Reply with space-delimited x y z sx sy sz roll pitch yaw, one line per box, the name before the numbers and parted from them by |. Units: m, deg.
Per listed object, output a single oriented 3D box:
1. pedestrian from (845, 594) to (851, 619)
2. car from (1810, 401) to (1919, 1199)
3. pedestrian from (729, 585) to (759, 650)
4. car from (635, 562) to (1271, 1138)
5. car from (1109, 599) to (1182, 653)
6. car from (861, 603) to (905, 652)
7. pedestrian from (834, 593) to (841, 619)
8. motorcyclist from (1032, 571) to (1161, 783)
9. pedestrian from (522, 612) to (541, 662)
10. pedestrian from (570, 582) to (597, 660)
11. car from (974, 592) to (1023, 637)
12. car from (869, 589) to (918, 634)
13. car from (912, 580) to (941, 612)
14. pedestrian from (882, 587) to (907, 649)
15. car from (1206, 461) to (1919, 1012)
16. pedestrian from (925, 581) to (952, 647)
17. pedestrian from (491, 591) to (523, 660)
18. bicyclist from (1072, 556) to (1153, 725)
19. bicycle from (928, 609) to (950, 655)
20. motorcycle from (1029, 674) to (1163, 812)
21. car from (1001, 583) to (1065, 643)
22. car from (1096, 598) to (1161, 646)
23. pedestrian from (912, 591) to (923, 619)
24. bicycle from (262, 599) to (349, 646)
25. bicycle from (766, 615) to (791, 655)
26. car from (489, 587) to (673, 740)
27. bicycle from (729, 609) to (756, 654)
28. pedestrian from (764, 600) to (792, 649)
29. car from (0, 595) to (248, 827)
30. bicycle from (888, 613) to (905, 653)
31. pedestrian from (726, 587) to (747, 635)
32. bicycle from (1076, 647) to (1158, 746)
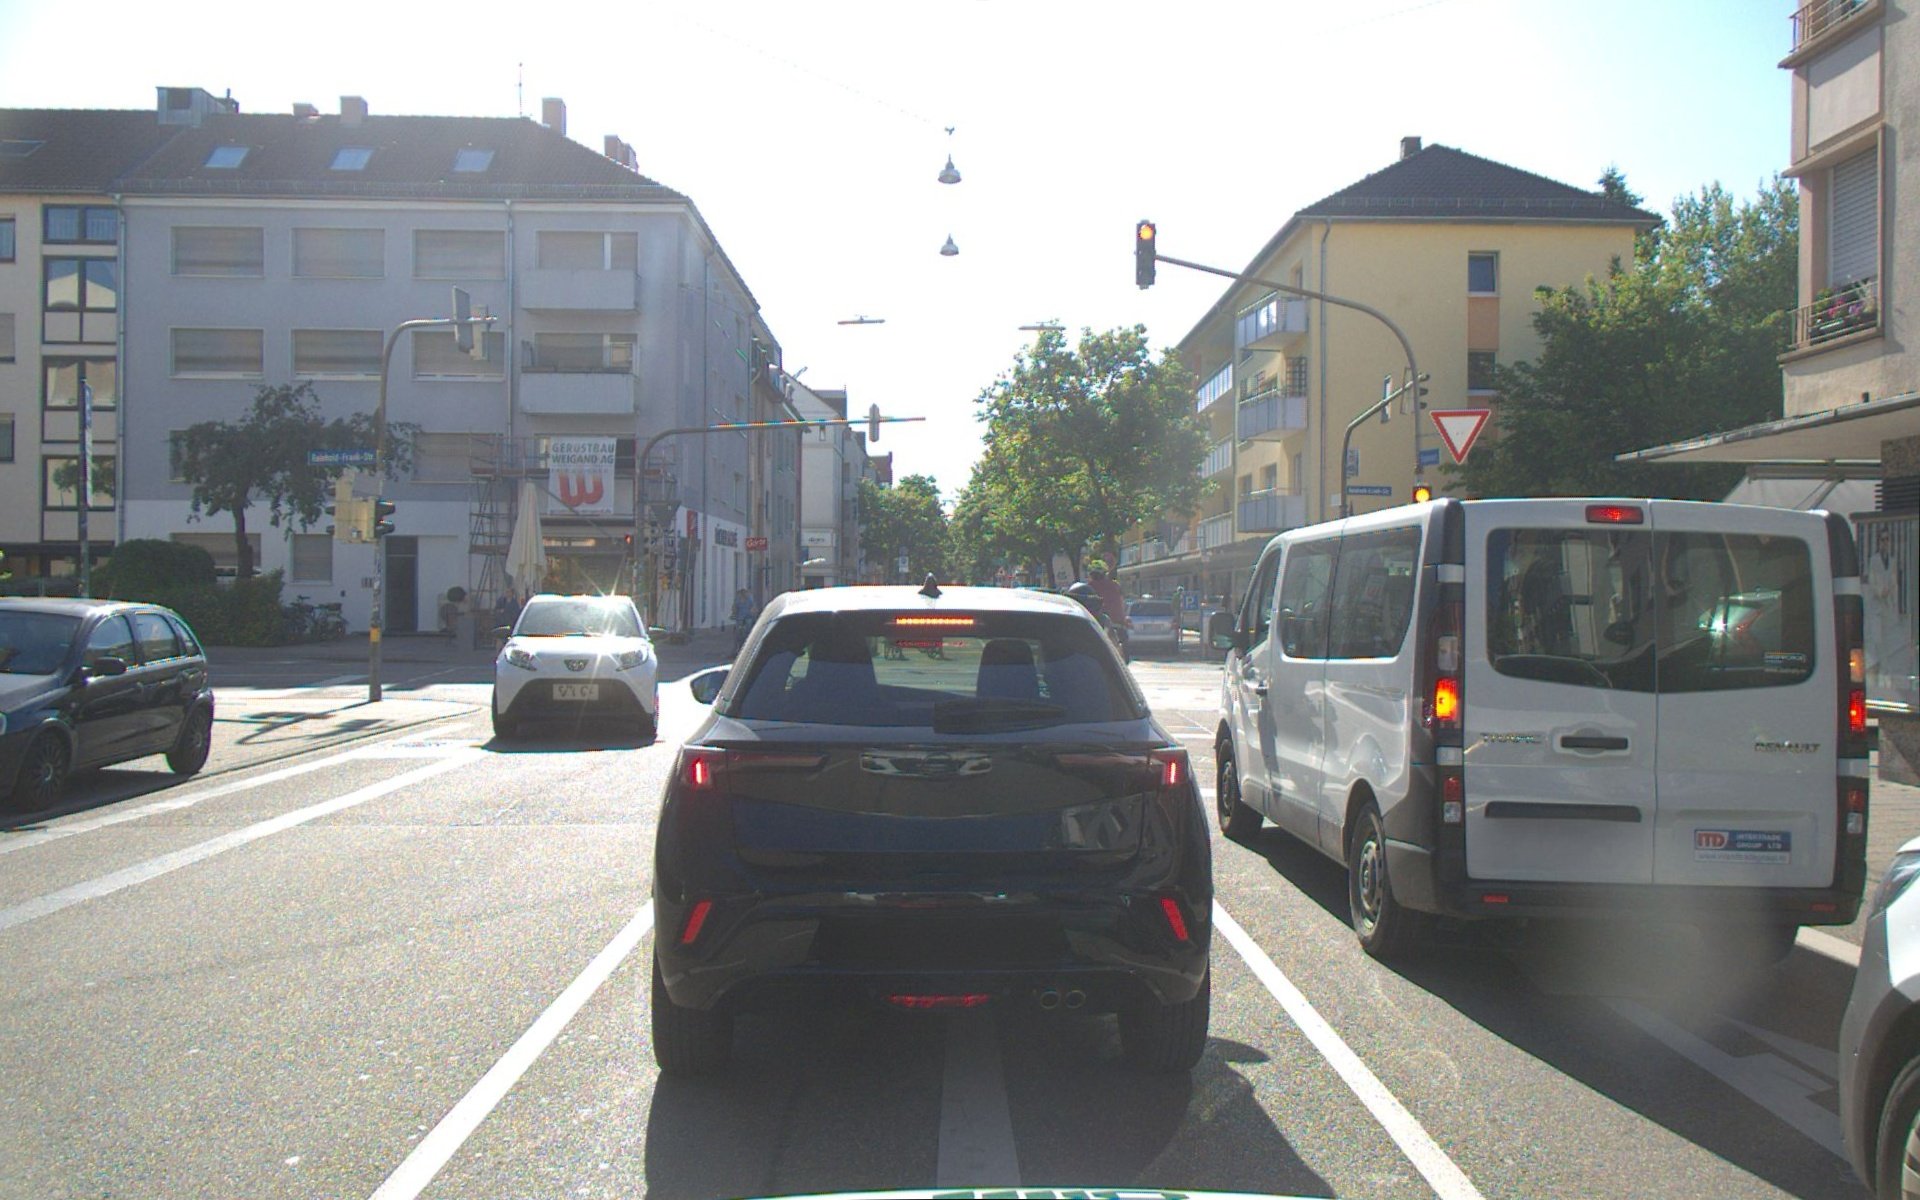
pedestrian | -7.510 0.419 111.240 0.394 1.704 0.417 0 0 -1
car | 2.994 0.544 1.435 1.799 1.901 4.994 0 0 -2
pedestrian | -5.718 0.453 43.824 0.692 1.707 0.802 0 0 -3
car | -0.096 0.669 6.515 1.735 1.557 3.998 0 0 -3
car | 5.282 0.712 47.531 1.601 1.458 3.956 0 0 -1
car | -3.377 1.180 72.762 1.811 2.049 3.999 0 0 -1
pedestrian | -8.254 0.399 111.555 0.394 1.704 0.417 0 0 -1
motorcyclist | 1.017 0.556 12.555 0.846 1.528 1.159 0 0 -2
pedestrian | -9.724 0.834 37.532 0.348 1.111 0.461 0 0 -4
pedestrian | -8.715 0.484 38.270 0.550 1.806 0.582 1 0 -9
car | 1.530 0.552 67.157 1.863 1.758 4.000 0 0 0
car | -2.667 0.451 67.096 1.787 1.758 4.000 0 0 1
car | -2.174 -0.250 107.959 1.817 2.049 3.880 0 0 -1
pedestrian | -1.741 0.479 44.006 0.666 1.634 0.762 0 0 -3
car | 2.716 0.513 8.701 1.953 2.014 4.894 2 0 -1
pedestrian | -0.566 0.366 43.816 0.692 1.731 0.802 0 0 -3
pedestrian | -10.278 0.571 37.539 0.573 1.547 0.649 0 0 -4
bicyclist | 1.630 0.420 17.815 0.675 1.742 1.413 0 0 -3
bicycle | -0.561 0.829 43.869 0.511 1.167 2.169 0 0 -3
motorcycle | 0.985 1.035 12.420 0.808 0.860 1.884 0 0 -1
car | 2.213 0.371 51.022 1.863 1.758 4.074 0 0 1
car | 5.287 0.660 52.289 1.601 1.458 3.999 0 0 -1
pedestrian | -2.580 0.314 100.168 0.558 1.719 0.588 0 0 11
bicycle | -16.914 0.562 42.755 2.067 1.193 0.735 0 0 -25
bicycle | -4.837 0.921 44.117 0.511 1.010 2.338 0 0 -3
car | -4.224 0.646 18.925 1.732 1.563 3.779 0 0 -8
bicycle | -5.790 0.823 44.050 0.511 1.167 2.282 0 0 -3
pedestrian | -4.804 0.634 43.724 0.692 1.275 0.802 0 0 -3
car | -7.043 0.721 12.655 1.584 1.450 3.709 2 0 -1
bicycle | -1.708 0.874 44.174 0.434 1.010 2.068 0 0 -3
pedestrian | -7.292 0.351 53.927 0.605 1.547 0.724 0 0 -4
bicycle | 1.665 1.007 17.856 0.565 0.920 2.300 0 0 -3
